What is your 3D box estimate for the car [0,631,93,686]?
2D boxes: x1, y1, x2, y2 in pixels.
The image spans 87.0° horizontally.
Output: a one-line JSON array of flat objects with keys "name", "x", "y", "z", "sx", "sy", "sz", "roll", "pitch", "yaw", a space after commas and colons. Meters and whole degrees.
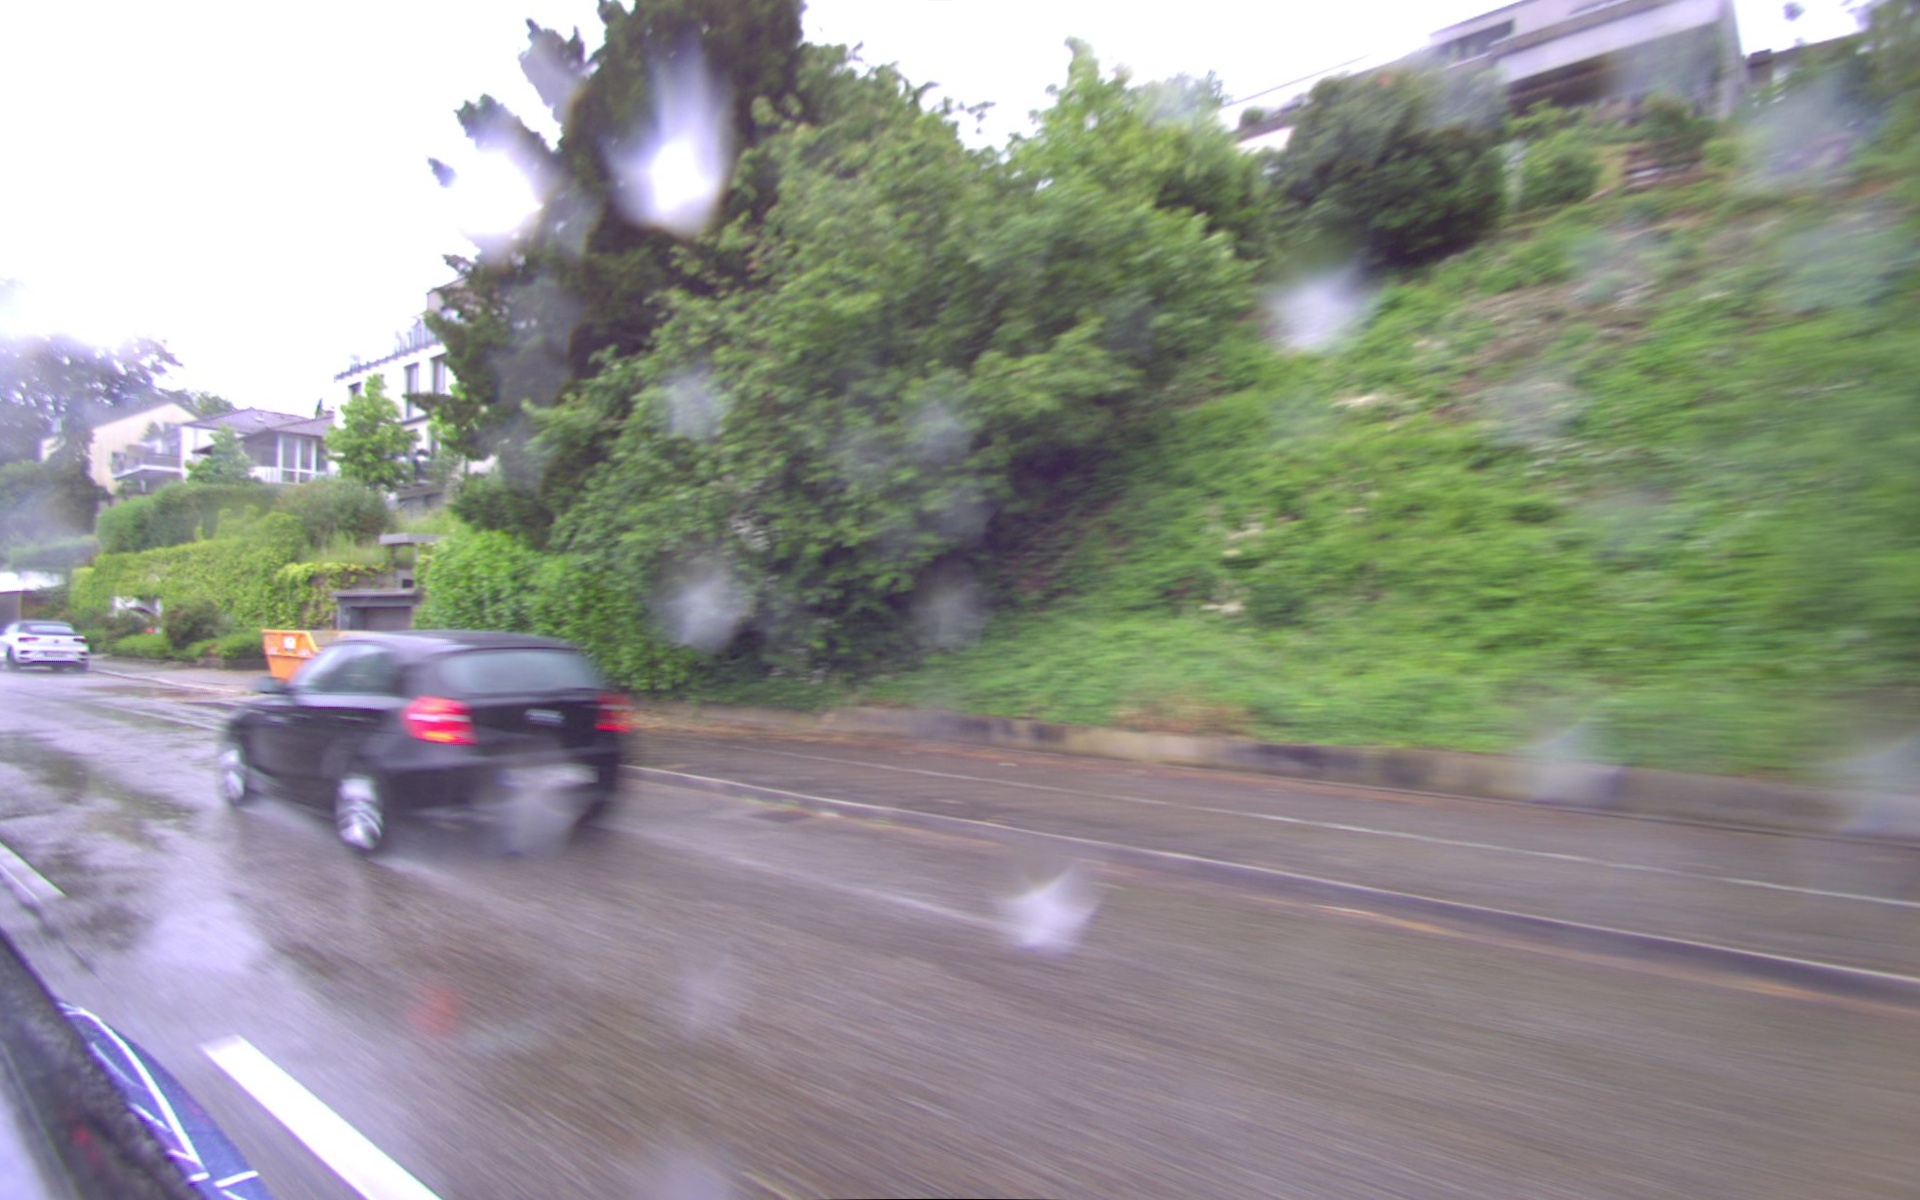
[{"name": "car", "x": -27.885, "y": 1.716, "z": 30.438, "sx": 4.211, "sy": 1.509, "sz": 1.740, "roll": -1, "pitch": -3, "yaw": 36}]

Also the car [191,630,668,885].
[{"name": "car", "x": -4.045, "y": 0.917, "z": 7.453, "sx": 3.982, "sy": 1.362, "sz": 1.638, "roll": -1, "pitch": -2, "yaw": 38}]

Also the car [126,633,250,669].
[{"name": "car", "x": -31.717, "y": 2.068, "z": 41.655, "sx": 1.864, "sy": 1.394, "sz": 3.720, "roll": -1, "pitch": -3, "yaw": 39}]
